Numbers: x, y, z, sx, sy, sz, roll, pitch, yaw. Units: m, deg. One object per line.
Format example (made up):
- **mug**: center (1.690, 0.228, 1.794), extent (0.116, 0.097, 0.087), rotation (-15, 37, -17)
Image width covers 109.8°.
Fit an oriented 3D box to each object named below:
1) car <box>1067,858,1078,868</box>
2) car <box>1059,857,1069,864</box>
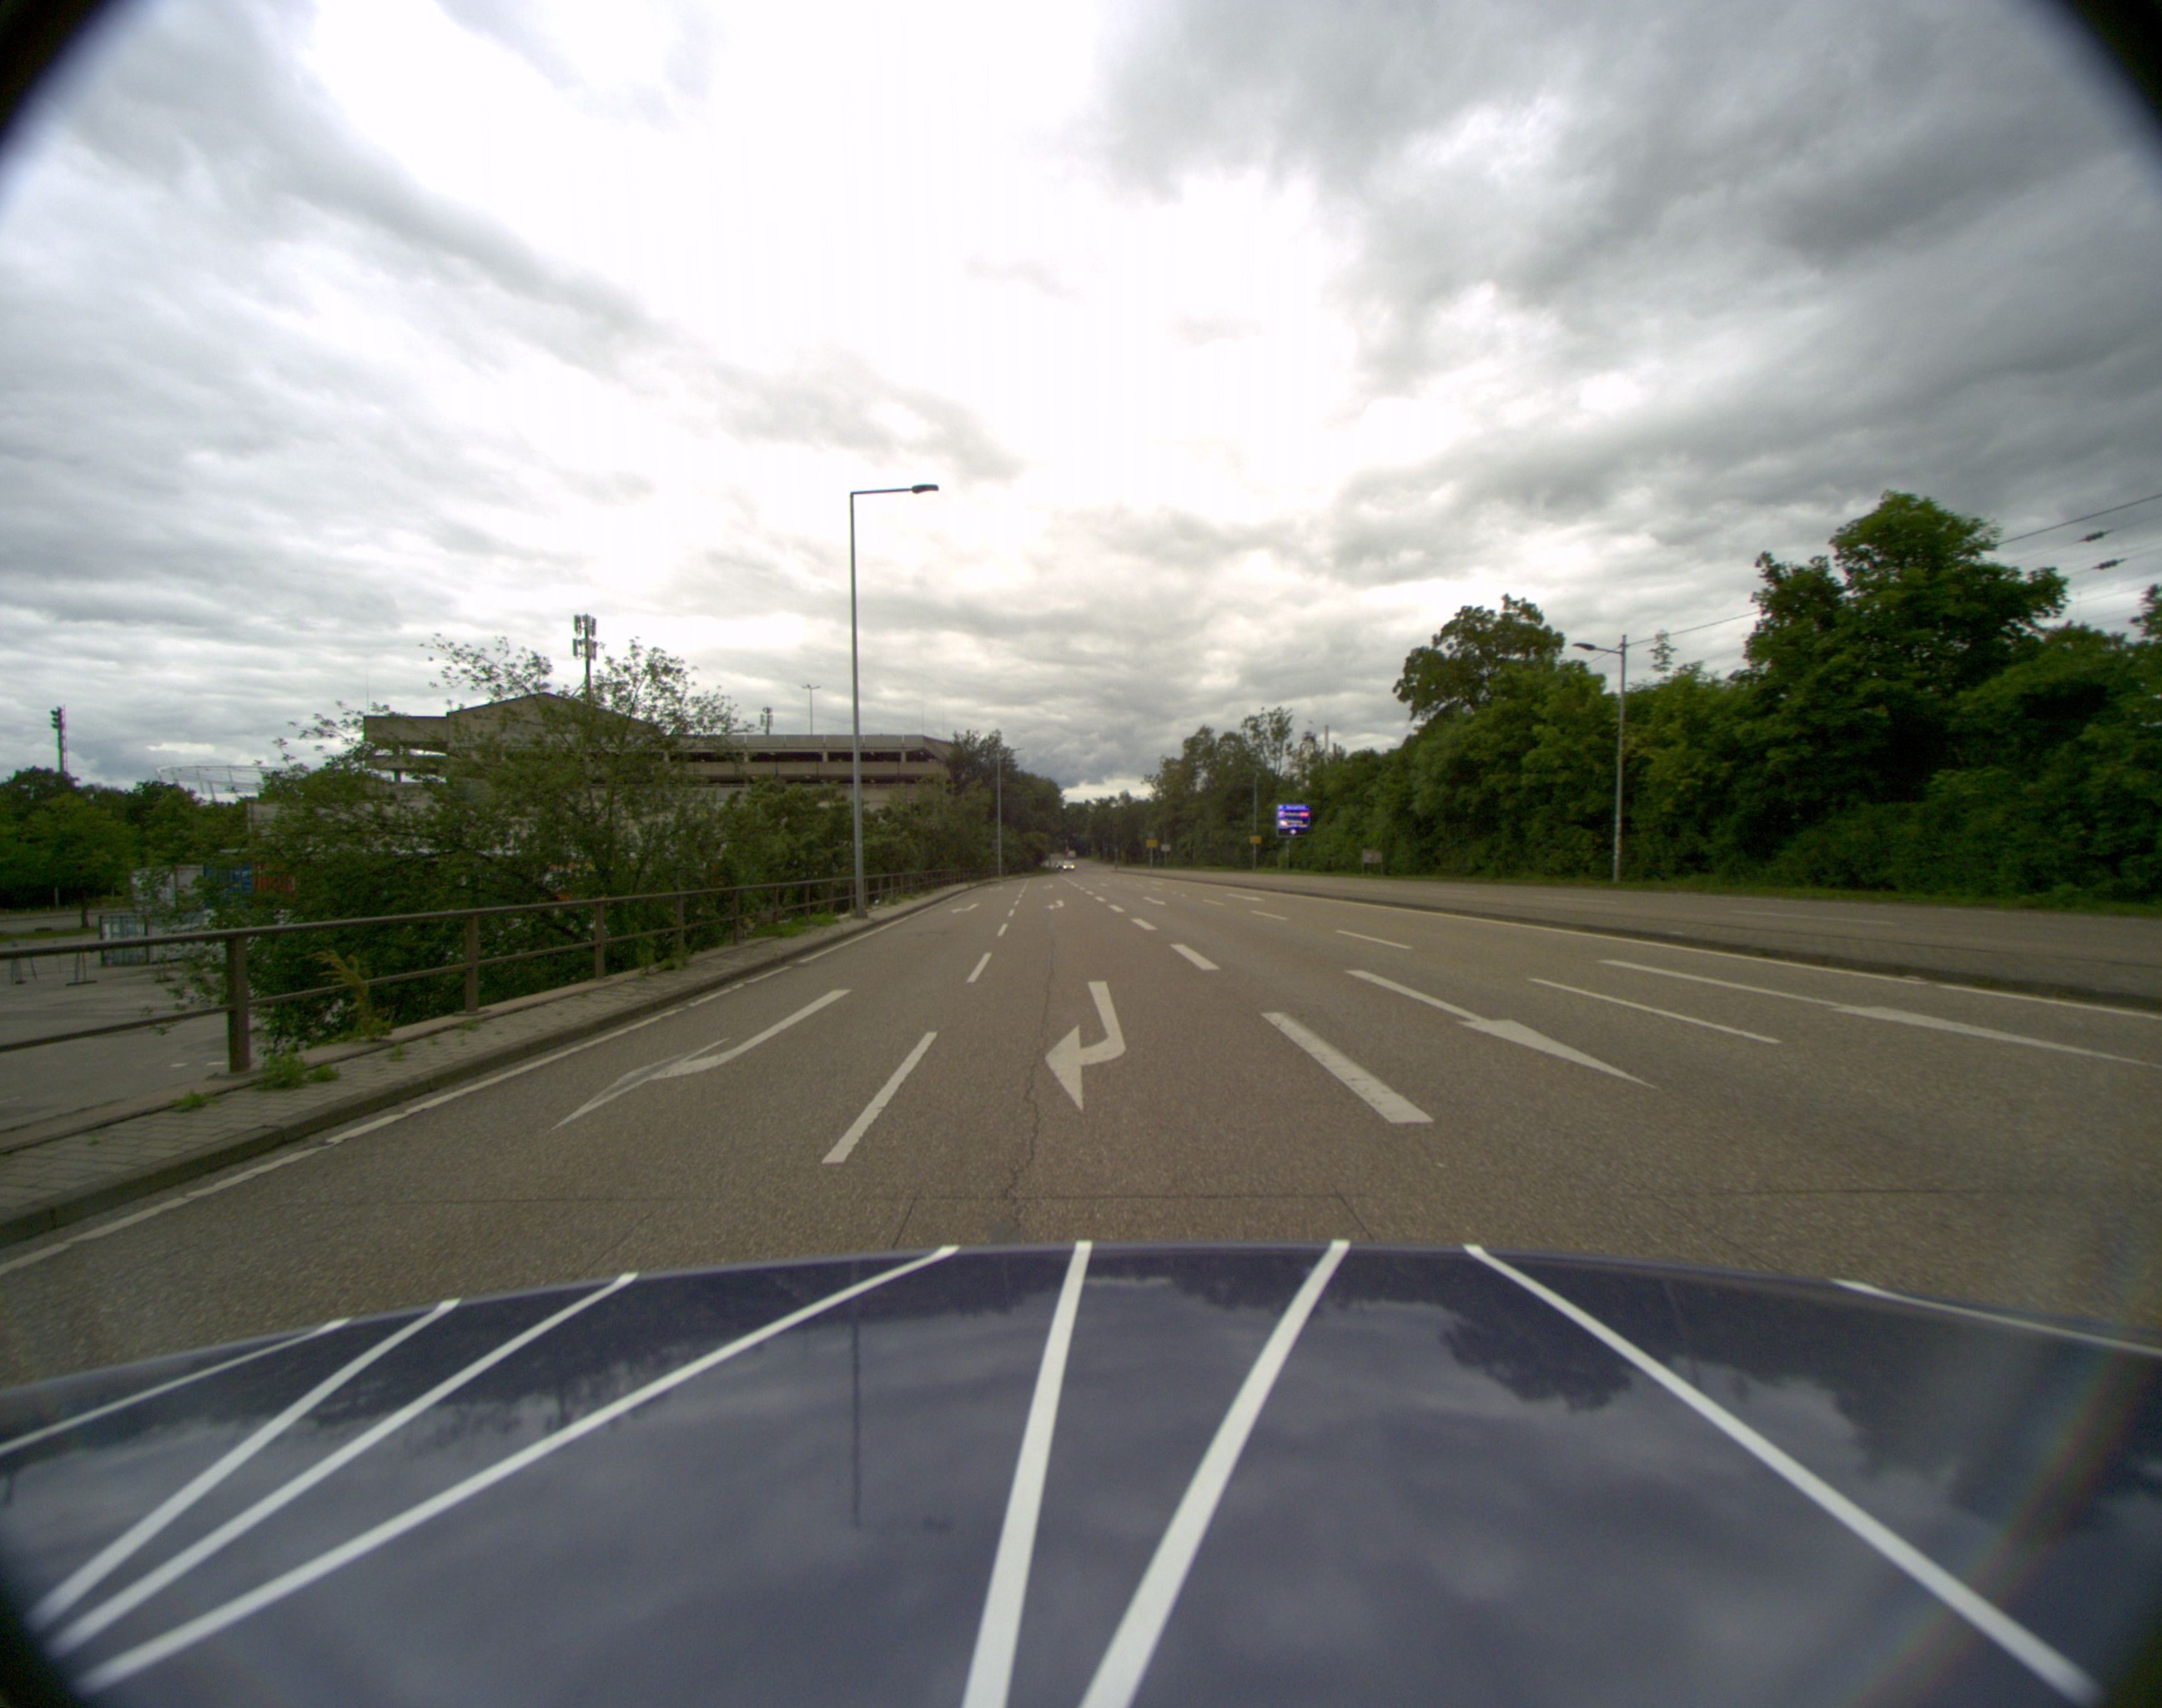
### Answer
- **car**: center (-1.358, 1.337, 115.333), extent (1.609, 1.408, 3.591), rotation (-2, 0, -1)
- **car**: center (-3.507, 1.331, 159.560), extent (1.864, 1.408, 4.338), rotation (-2, 0, 1)
